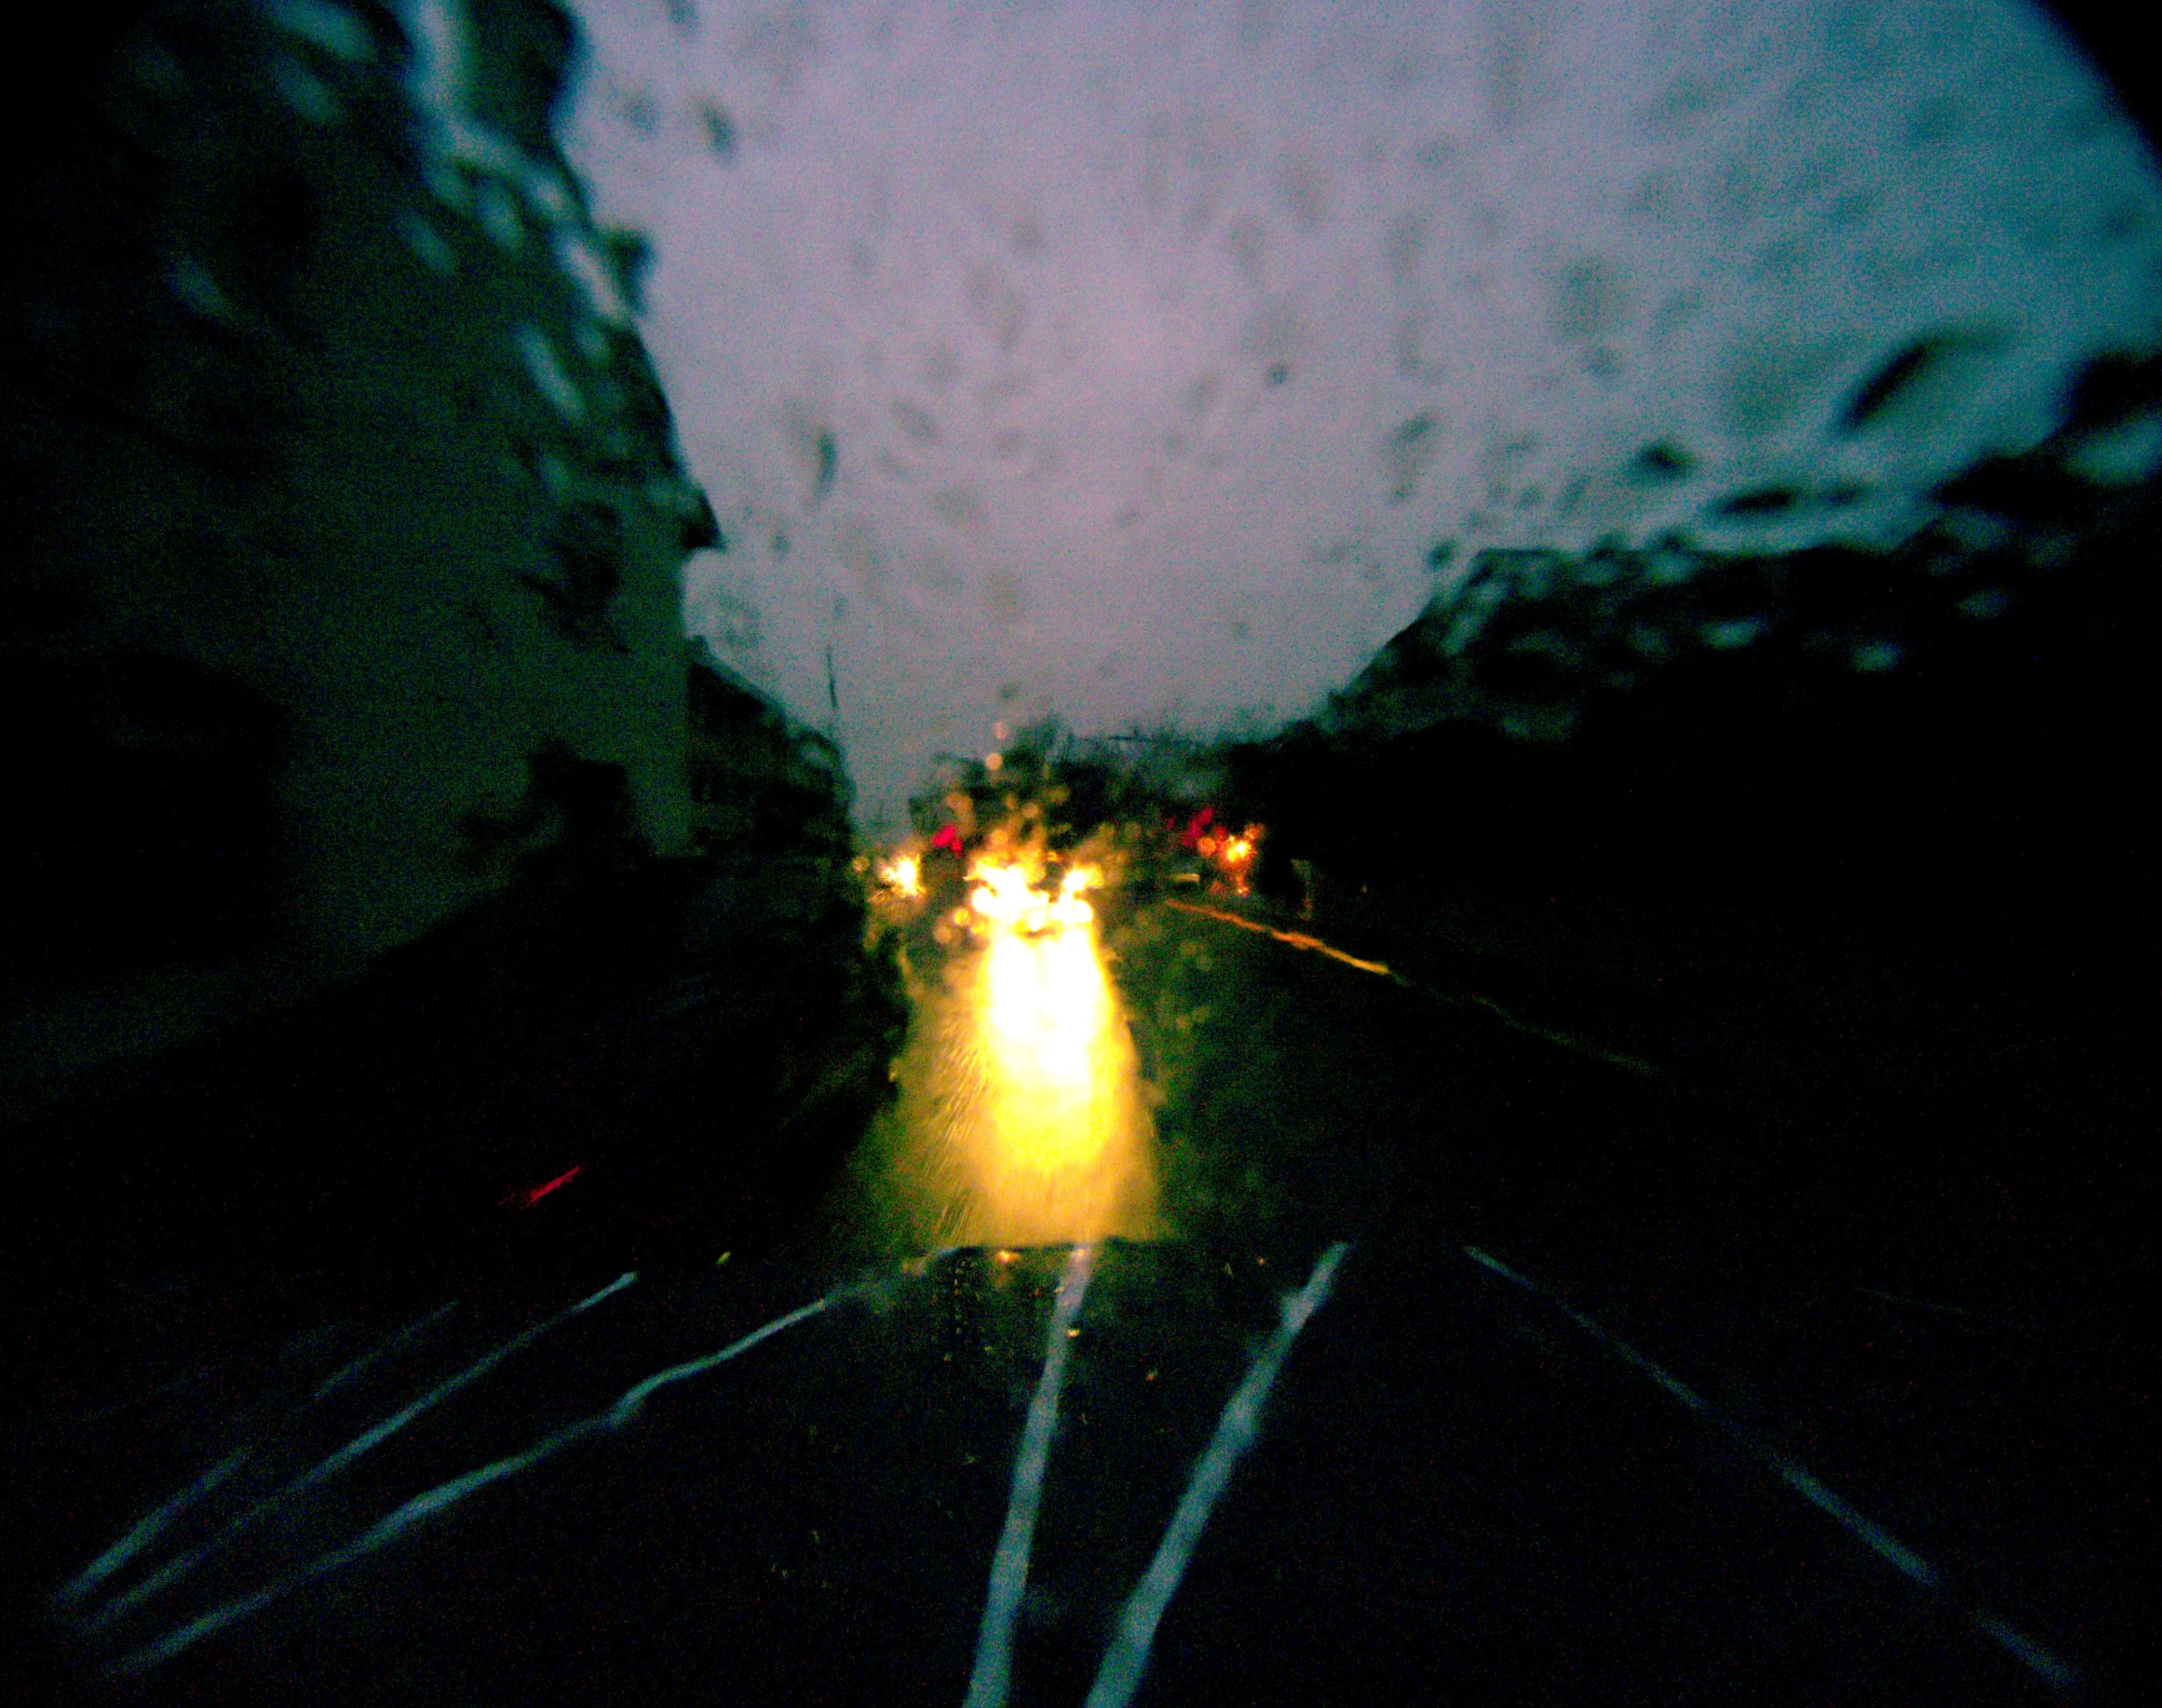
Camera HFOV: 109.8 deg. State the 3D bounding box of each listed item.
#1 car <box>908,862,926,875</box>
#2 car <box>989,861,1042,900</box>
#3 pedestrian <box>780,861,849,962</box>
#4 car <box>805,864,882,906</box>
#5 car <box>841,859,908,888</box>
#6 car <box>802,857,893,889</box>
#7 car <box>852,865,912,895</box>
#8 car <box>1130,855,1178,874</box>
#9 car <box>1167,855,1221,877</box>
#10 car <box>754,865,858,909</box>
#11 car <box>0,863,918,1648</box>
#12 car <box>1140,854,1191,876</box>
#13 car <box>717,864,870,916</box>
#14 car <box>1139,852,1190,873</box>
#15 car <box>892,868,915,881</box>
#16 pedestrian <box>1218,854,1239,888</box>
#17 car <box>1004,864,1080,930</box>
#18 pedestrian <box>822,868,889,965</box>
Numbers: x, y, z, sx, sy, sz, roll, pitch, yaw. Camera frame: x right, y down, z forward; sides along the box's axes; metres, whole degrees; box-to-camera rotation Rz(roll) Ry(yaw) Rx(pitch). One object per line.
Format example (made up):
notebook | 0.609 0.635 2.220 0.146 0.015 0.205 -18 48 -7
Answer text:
car | -22.517 1.977 104.117 1.903 1.607 3.821 -2 0 -20
car | -3.070 1.166 35.008 1.925 1.608 3.864 -2 0 -12
pedestrian | -4.758 1.002 13.643 0.850 1.723 0.972 2 0 0
car | -9.043 1.176 29.102 2.591 1.538 1.550 0 -1 -8
car | -13.228 1.259 48.957 4.057 1.832 1.861 1 0 -13
car | -14.069 1.147 46.017 4.997 1.877 1.936 1 -1 -8
car | -10.022 1.294 38.457 2.772 1.465 1.426 0 0 -8
car | 6.499 0.913 67.215 3.992 1.622 1.636 -1 0 15
car | 7.955 0.824 53.551 3.478 1.401 1.612 -2 0 20
car | -9.508 1.128 26.429 3.074 1.465 1.549 0 0 -5
car | -2.249 0.924 3.828 1.852 1.627 4.335 -2 0 0
car | 6.566 0.849 58.969 3.627 1.602 1.612 -2 0 18
car | -8.427 1.039 22.580 3.911 1.465 1.750 0 0 -5
car | 6.878 0.668 62.141 3.994 1.622 1.636 -1 0 10
car | -20.358 2.329 87.130 1.904 1.457 3.993 -2 0 -22
pedestrian | 7.887 0.906 40.692 0.882 1.724 0.955 -2 0 0
car | -0.941 1.066 20.295 1.731 1.475 3.604 -3 0 1
pedestrian | -4.024 1.088 13.643 0.869 1.657 0.992 2 0 0
